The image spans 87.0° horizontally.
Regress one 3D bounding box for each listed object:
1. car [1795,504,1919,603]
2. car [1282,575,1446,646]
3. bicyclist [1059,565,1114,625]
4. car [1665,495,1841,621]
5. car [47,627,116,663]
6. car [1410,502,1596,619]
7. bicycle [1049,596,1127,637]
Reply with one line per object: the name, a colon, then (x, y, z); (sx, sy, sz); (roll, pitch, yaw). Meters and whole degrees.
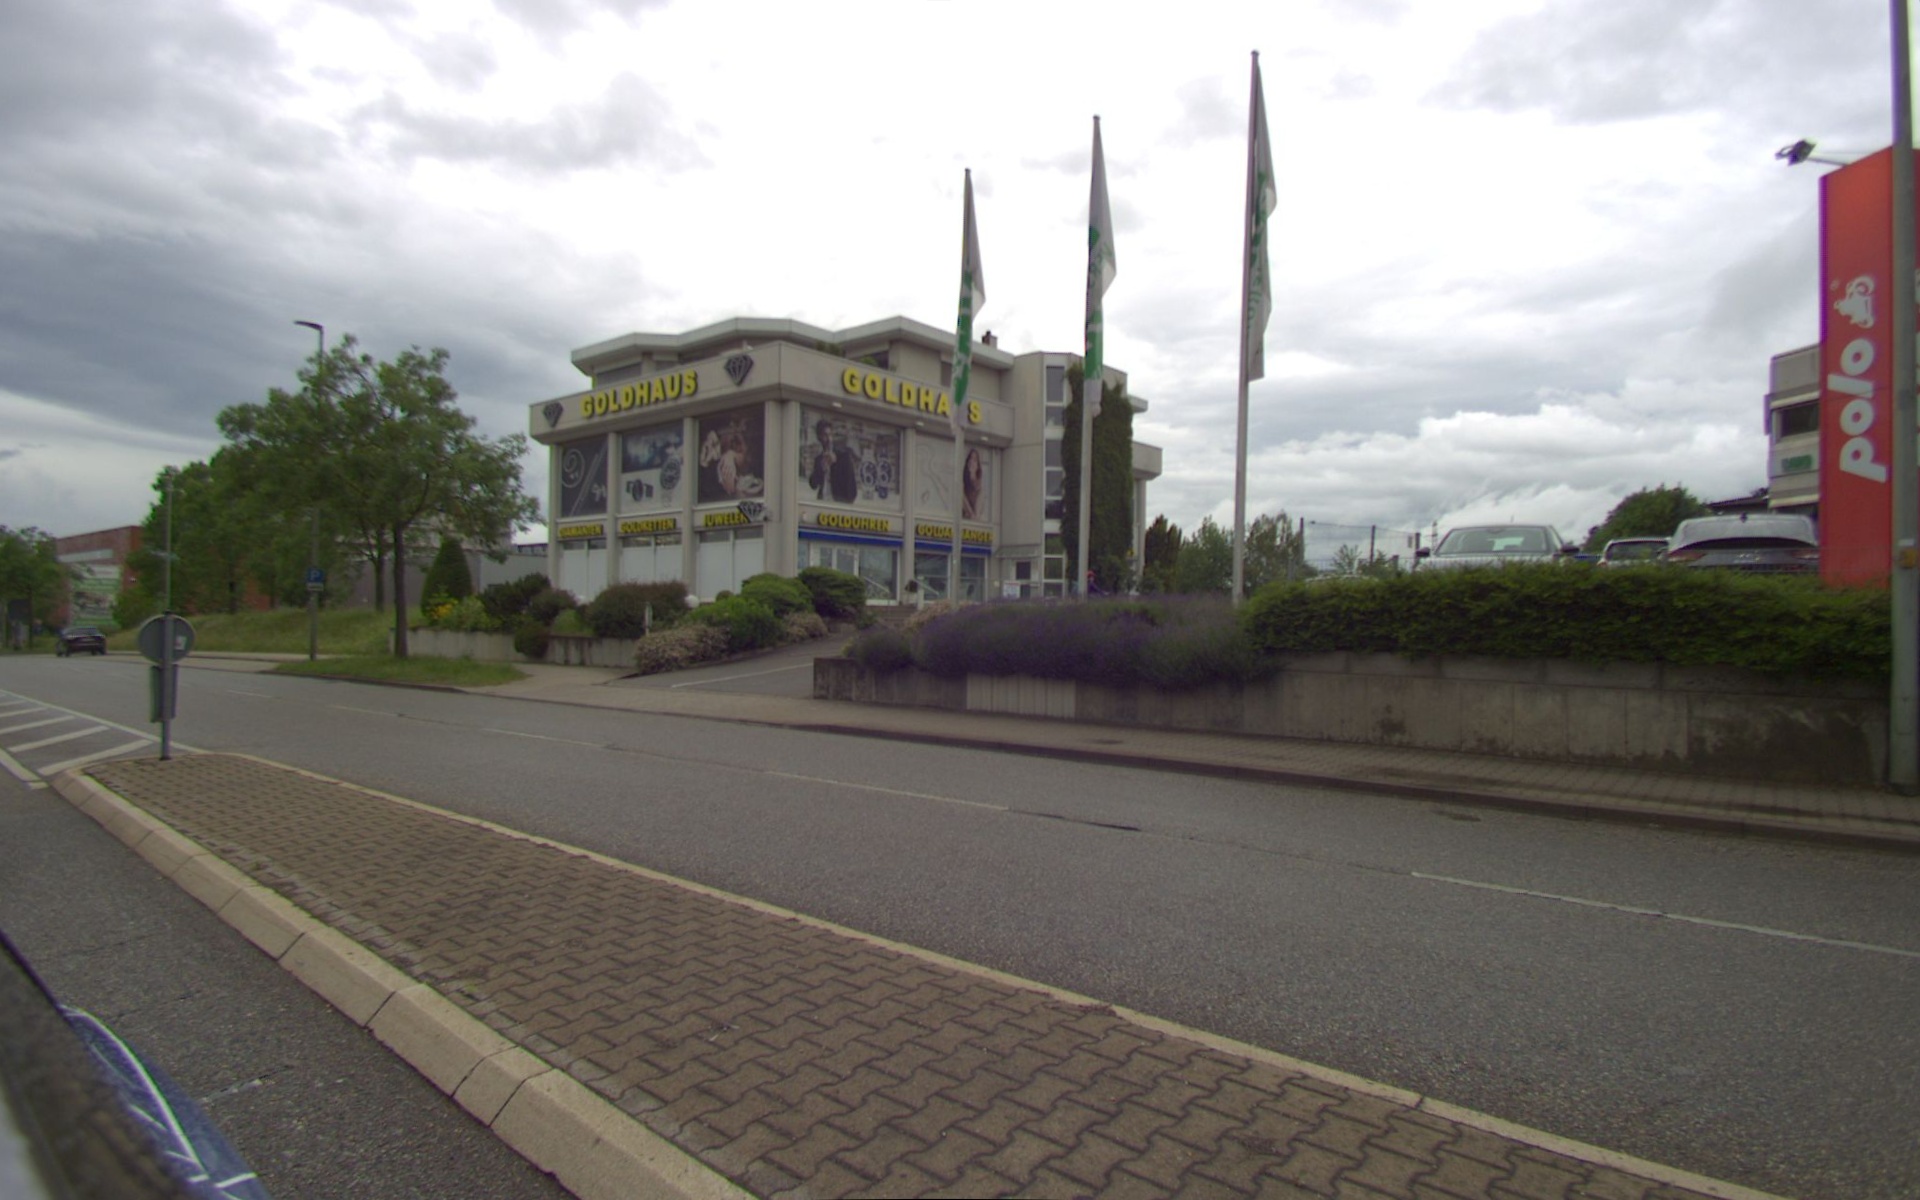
car: (15.430, -0.718, 17.486); (1.452, 1.484, 3.353); (-1, -2, 38)
car: (9.751, 0.269, 24.512); (3.384, 1.608, 1.511); (-1, -2, 41)
bicyclist: (3.231, -0.131, 25.798); (0.909, 1.453, 1.014); (-1, 4, 40)
car: (9.432, -0.391, 12.080); (1.452, 1.287, 3.353); (-1, -2, 38)
car: (-49.359, 2.546, 56.827); (4.542, 1.905, 2.320); (-4, -4, 41)
car: (7.334, -0.433, 13.548); (1.454, 1.347, 3.350); (-1, -2, 42)
bicycle: (3.298, 0.412, 25.875); (0.909, 0.820, 2.264); (-1, 4, 39)
